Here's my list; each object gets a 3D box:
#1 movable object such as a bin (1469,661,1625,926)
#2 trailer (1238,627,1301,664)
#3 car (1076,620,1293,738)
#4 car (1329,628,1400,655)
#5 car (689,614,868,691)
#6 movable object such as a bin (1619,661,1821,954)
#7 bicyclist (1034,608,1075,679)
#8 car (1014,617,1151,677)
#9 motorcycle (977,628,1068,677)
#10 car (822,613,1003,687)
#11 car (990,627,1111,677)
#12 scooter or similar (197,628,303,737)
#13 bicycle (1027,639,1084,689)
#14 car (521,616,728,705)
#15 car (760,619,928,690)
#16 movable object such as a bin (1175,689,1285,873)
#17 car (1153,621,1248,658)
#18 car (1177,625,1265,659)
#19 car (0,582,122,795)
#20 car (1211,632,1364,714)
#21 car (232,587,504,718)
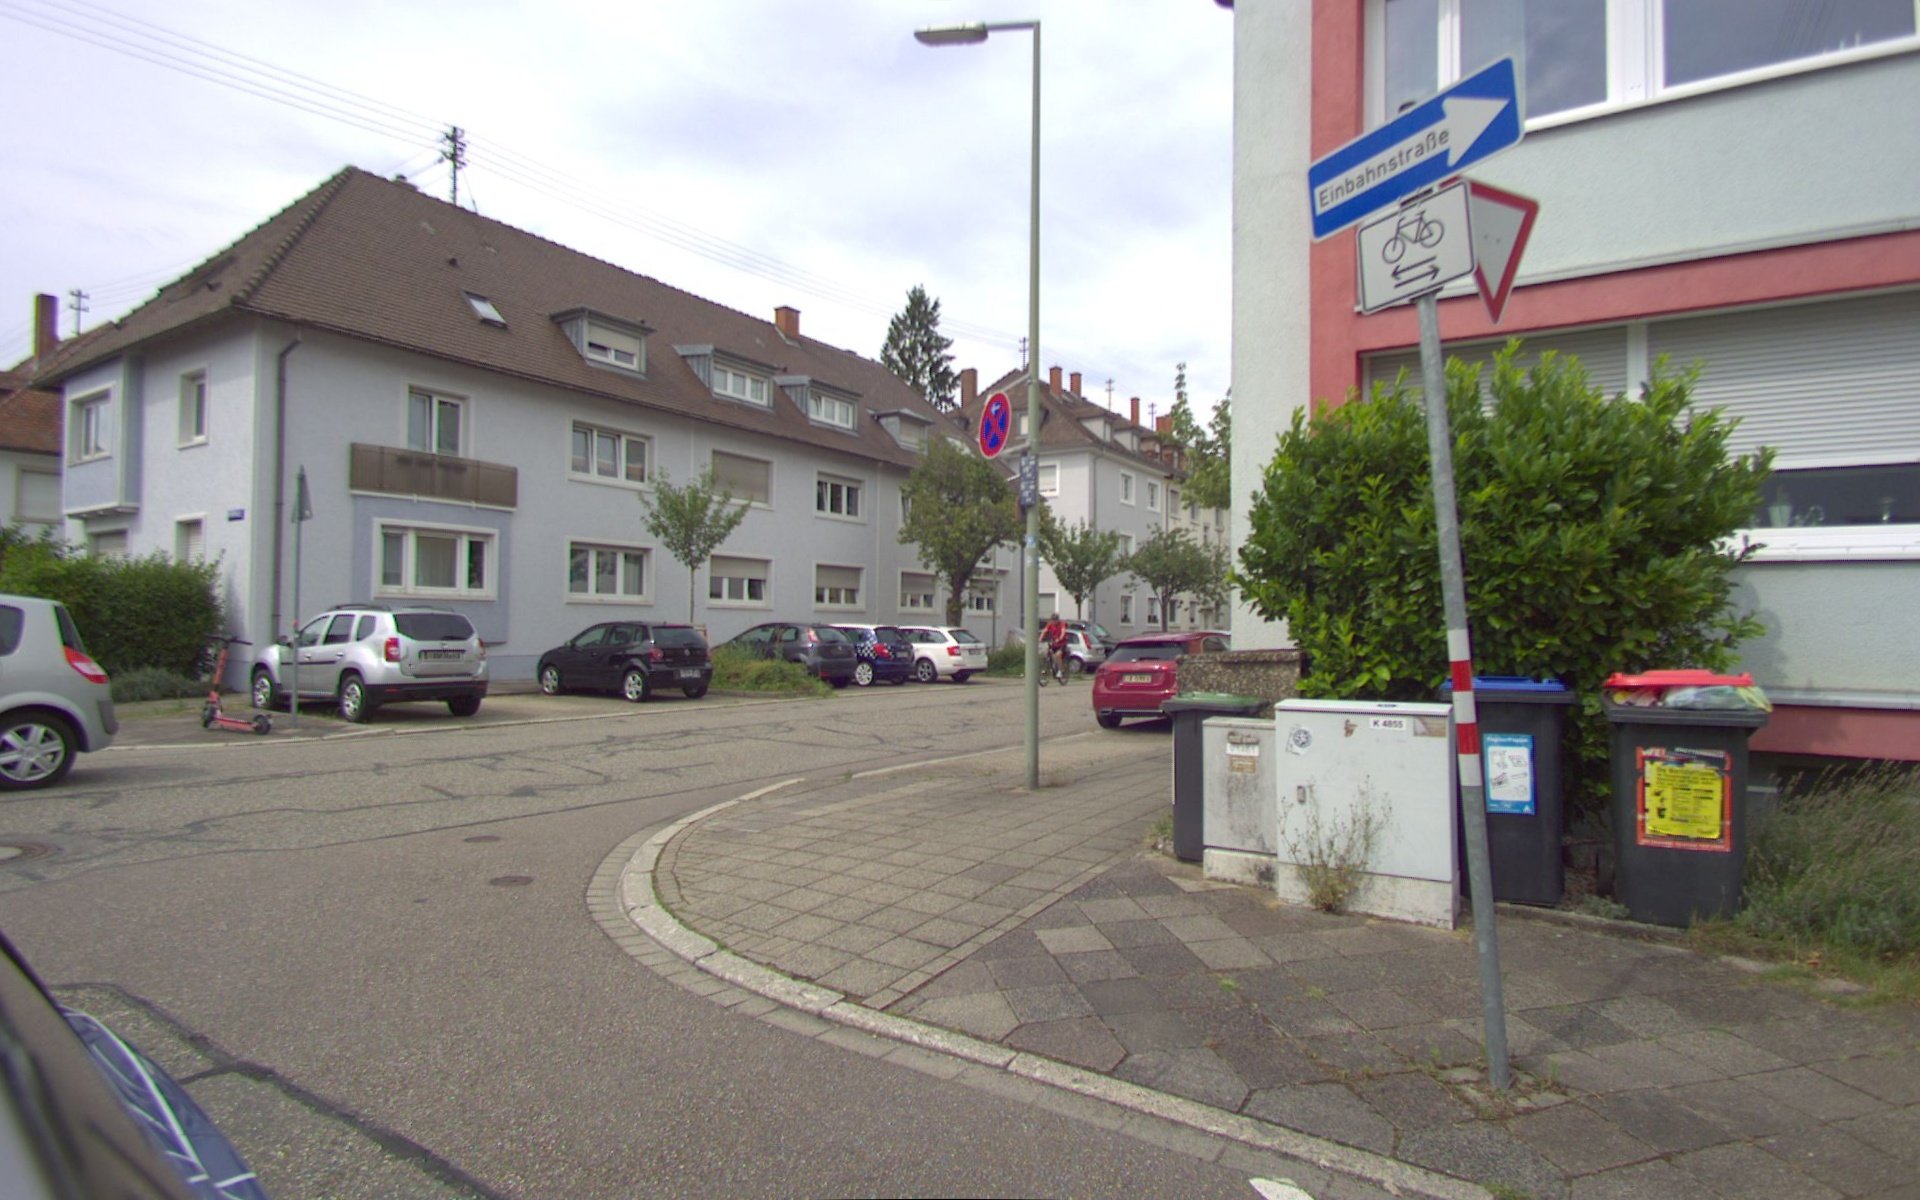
[{"bbox_3d":[2.822,0.882,4.923,0.591,1.122,0.672,2,-1,27],"label":"movable object such as a bin"},{"bbox_3d":[16.841,2.471,55.152,2.966,1.845,1.383,1,-1,37],"label":"trailer"},{"bbox_3d":[3.667,1.130,15.846,1.878,1.497,4.461,2,-1,33],"label":"car"},{"bbox_3d":[33.704,3.418,84.303,5.225,2.038,2.053,2,-1,30],"label":"car"},{"bbox_3d":[-4.218,1.160,23.328,3.989,1.519,1.693,2,-1,34],"label":"car"},{"bbox_3d":[3.379,0.872,4.557,0.591,1.140,0.672,2,-1,27],"label":"movable object such as a bin"},{"bbox_3d":[2.452,1.113,26.165,0.692,1.783,0.975,-2,-3,33],"label":"bicyclist"},{"bbox_3d":[4.320,1.637,36.112,4.531,1.872,1.771,2,-1,36],"label":"car"},{"bbox_3d":[1.982,1.657,32.245,2.698,1.475,1.021,0,-2,30],"label":"motorcycle"},{"bbox_3d":[-1.309,1.280,26.938,4.618,1.676,1.870,2,-1,35],"label":"car"},{"bbox_3d":[3.044,1.726,34.046,3.622,1.465,1.755,2,-1,30],"label":"car"},{"bbox_3d":[-8.762,0.998,12.486,1.234,1.253,0.419,2,-1,21],"label":"scooter or similar"},{"bbox_3d":[2.489,1.635,26.204,0.692,1.237,1.915,-2,-3,32],"label":"bicycle"},{"bbox_3d":[-6.544,1.104,19.611,3.989,1.432,1.693,2,-1,34],"label":"car"},{"bbox_3d":[-2.920,1.314,25.244,3.989,1.519,1.693,2,-1,34],"label":"car"},{"bbox_3d":[1.517,0.985,5.665,0.485,0.914,0.471,2,-1,27],"label":"movable object such as a bin"},{"bbox_3d":[11.232,1.855,47.377,3.984,1.541,1.750,2,-2,30],"label":"car"},{"bbox_3d":[12.784,2.042,49.558,3.751,1.452,1.843,2,-1,34],"label":"car"},{"bbox_3d":[-8.933,0.626,6.774,1.784,1.616,4.782,-1,-2,32],"label":"car"},{"bbox_3d":[6.719,1.432,20.462,1.772,1.403,4.226,-8,-6,33],"label":"car"},{"bbox_3d":[-8.951,0.762,15.243,3.925,1.645,1.847,2,-4,33],"label":"car"}]
